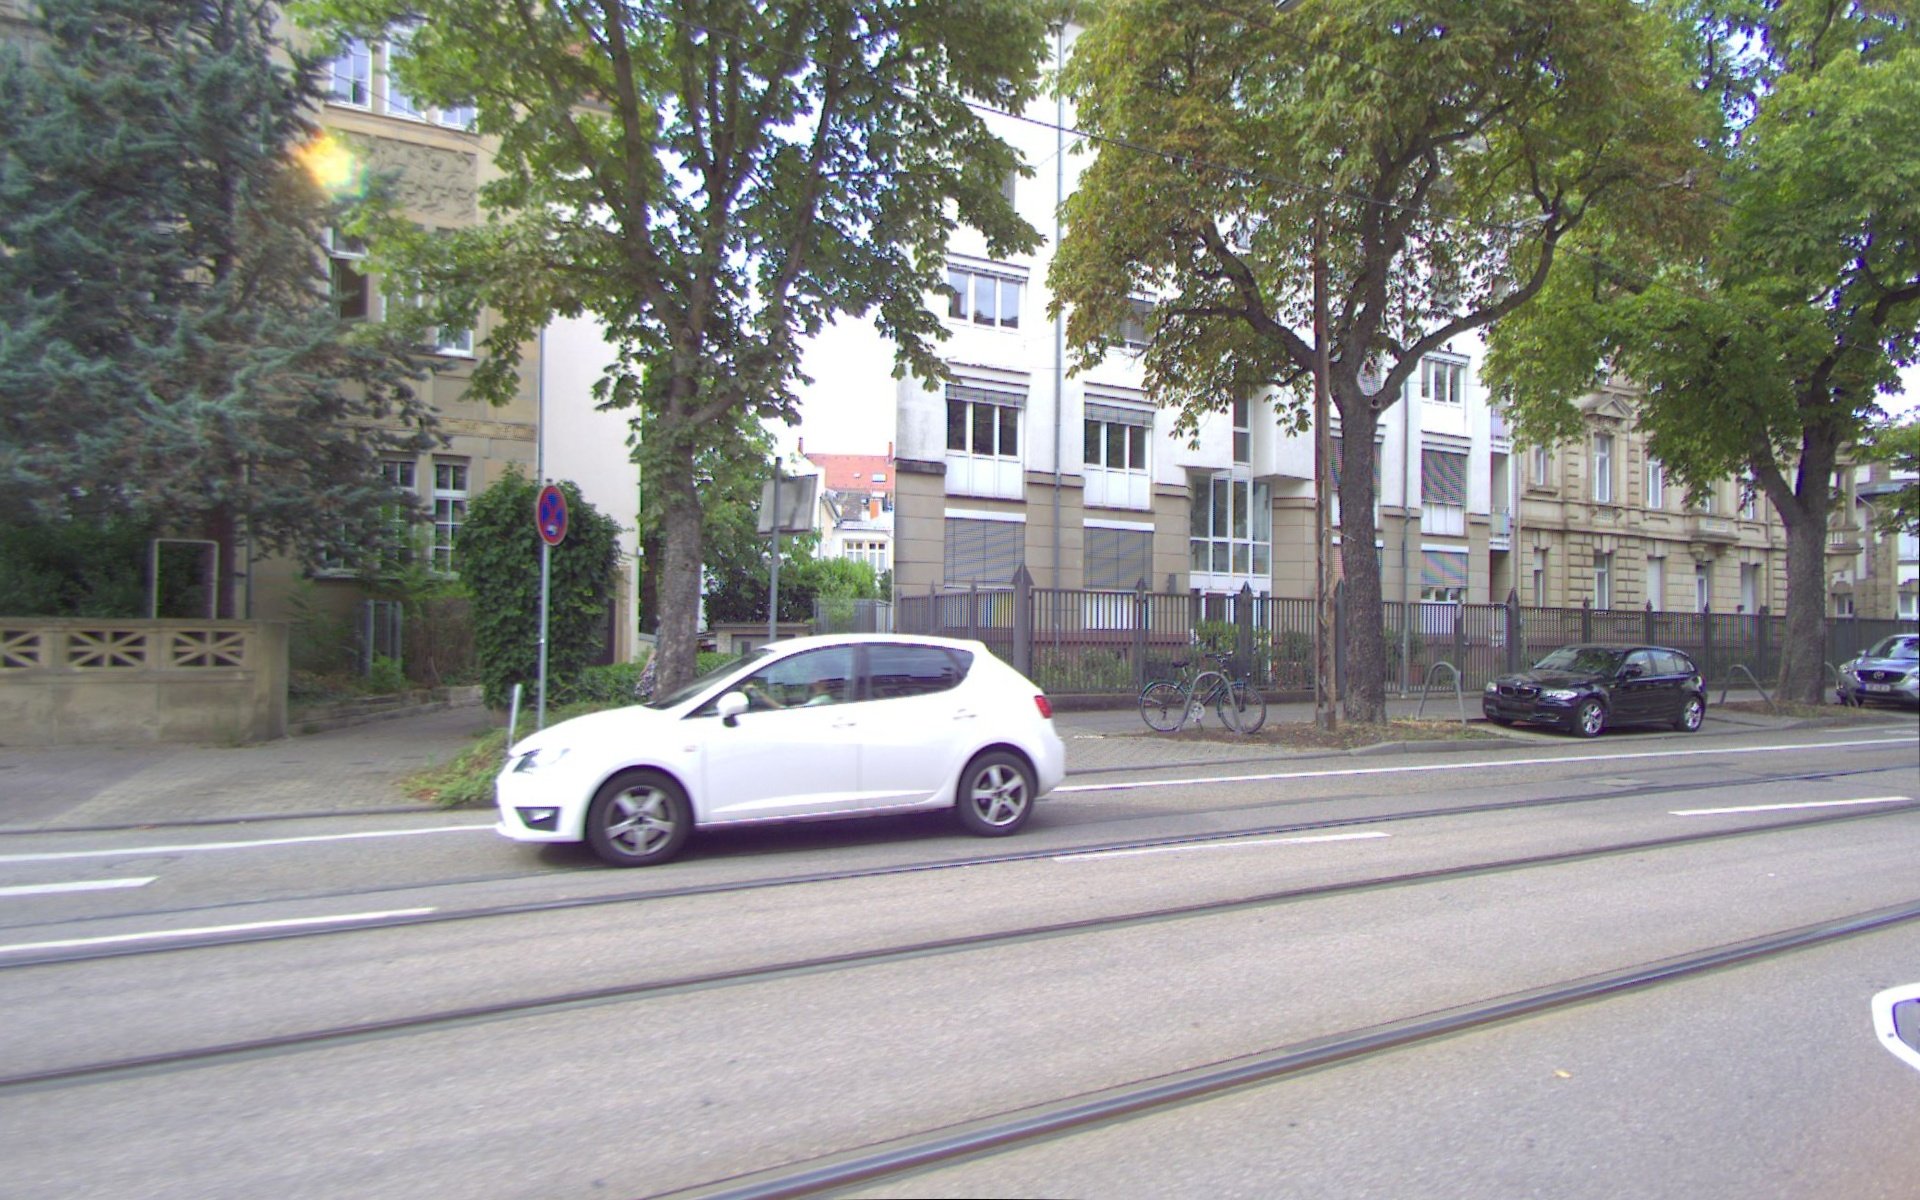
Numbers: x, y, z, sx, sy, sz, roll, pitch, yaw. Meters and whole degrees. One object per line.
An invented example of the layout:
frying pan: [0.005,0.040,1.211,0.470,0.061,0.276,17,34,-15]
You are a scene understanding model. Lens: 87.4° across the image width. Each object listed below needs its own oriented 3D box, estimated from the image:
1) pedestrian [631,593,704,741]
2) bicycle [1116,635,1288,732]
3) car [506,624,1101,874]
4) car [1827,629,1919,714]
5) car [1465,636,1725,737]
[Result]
pedestrian: [-3.630,0.806,12.456,0.693,1.758,0.701,1,0,-31]
bicycle: [3.383,1.128,14.113,2.197,1.191,0.833,1,0,32]
car: [-1.085,0.941,7.297,3.943,1.434,1.568,1,-3,-23]
car: [21.195,1.533,22.105,4.301,1.696,1.704,2,-1,-27]
car: [10.671,1.391,16.867,4.109,1.443,1.715,2,1,-25]
